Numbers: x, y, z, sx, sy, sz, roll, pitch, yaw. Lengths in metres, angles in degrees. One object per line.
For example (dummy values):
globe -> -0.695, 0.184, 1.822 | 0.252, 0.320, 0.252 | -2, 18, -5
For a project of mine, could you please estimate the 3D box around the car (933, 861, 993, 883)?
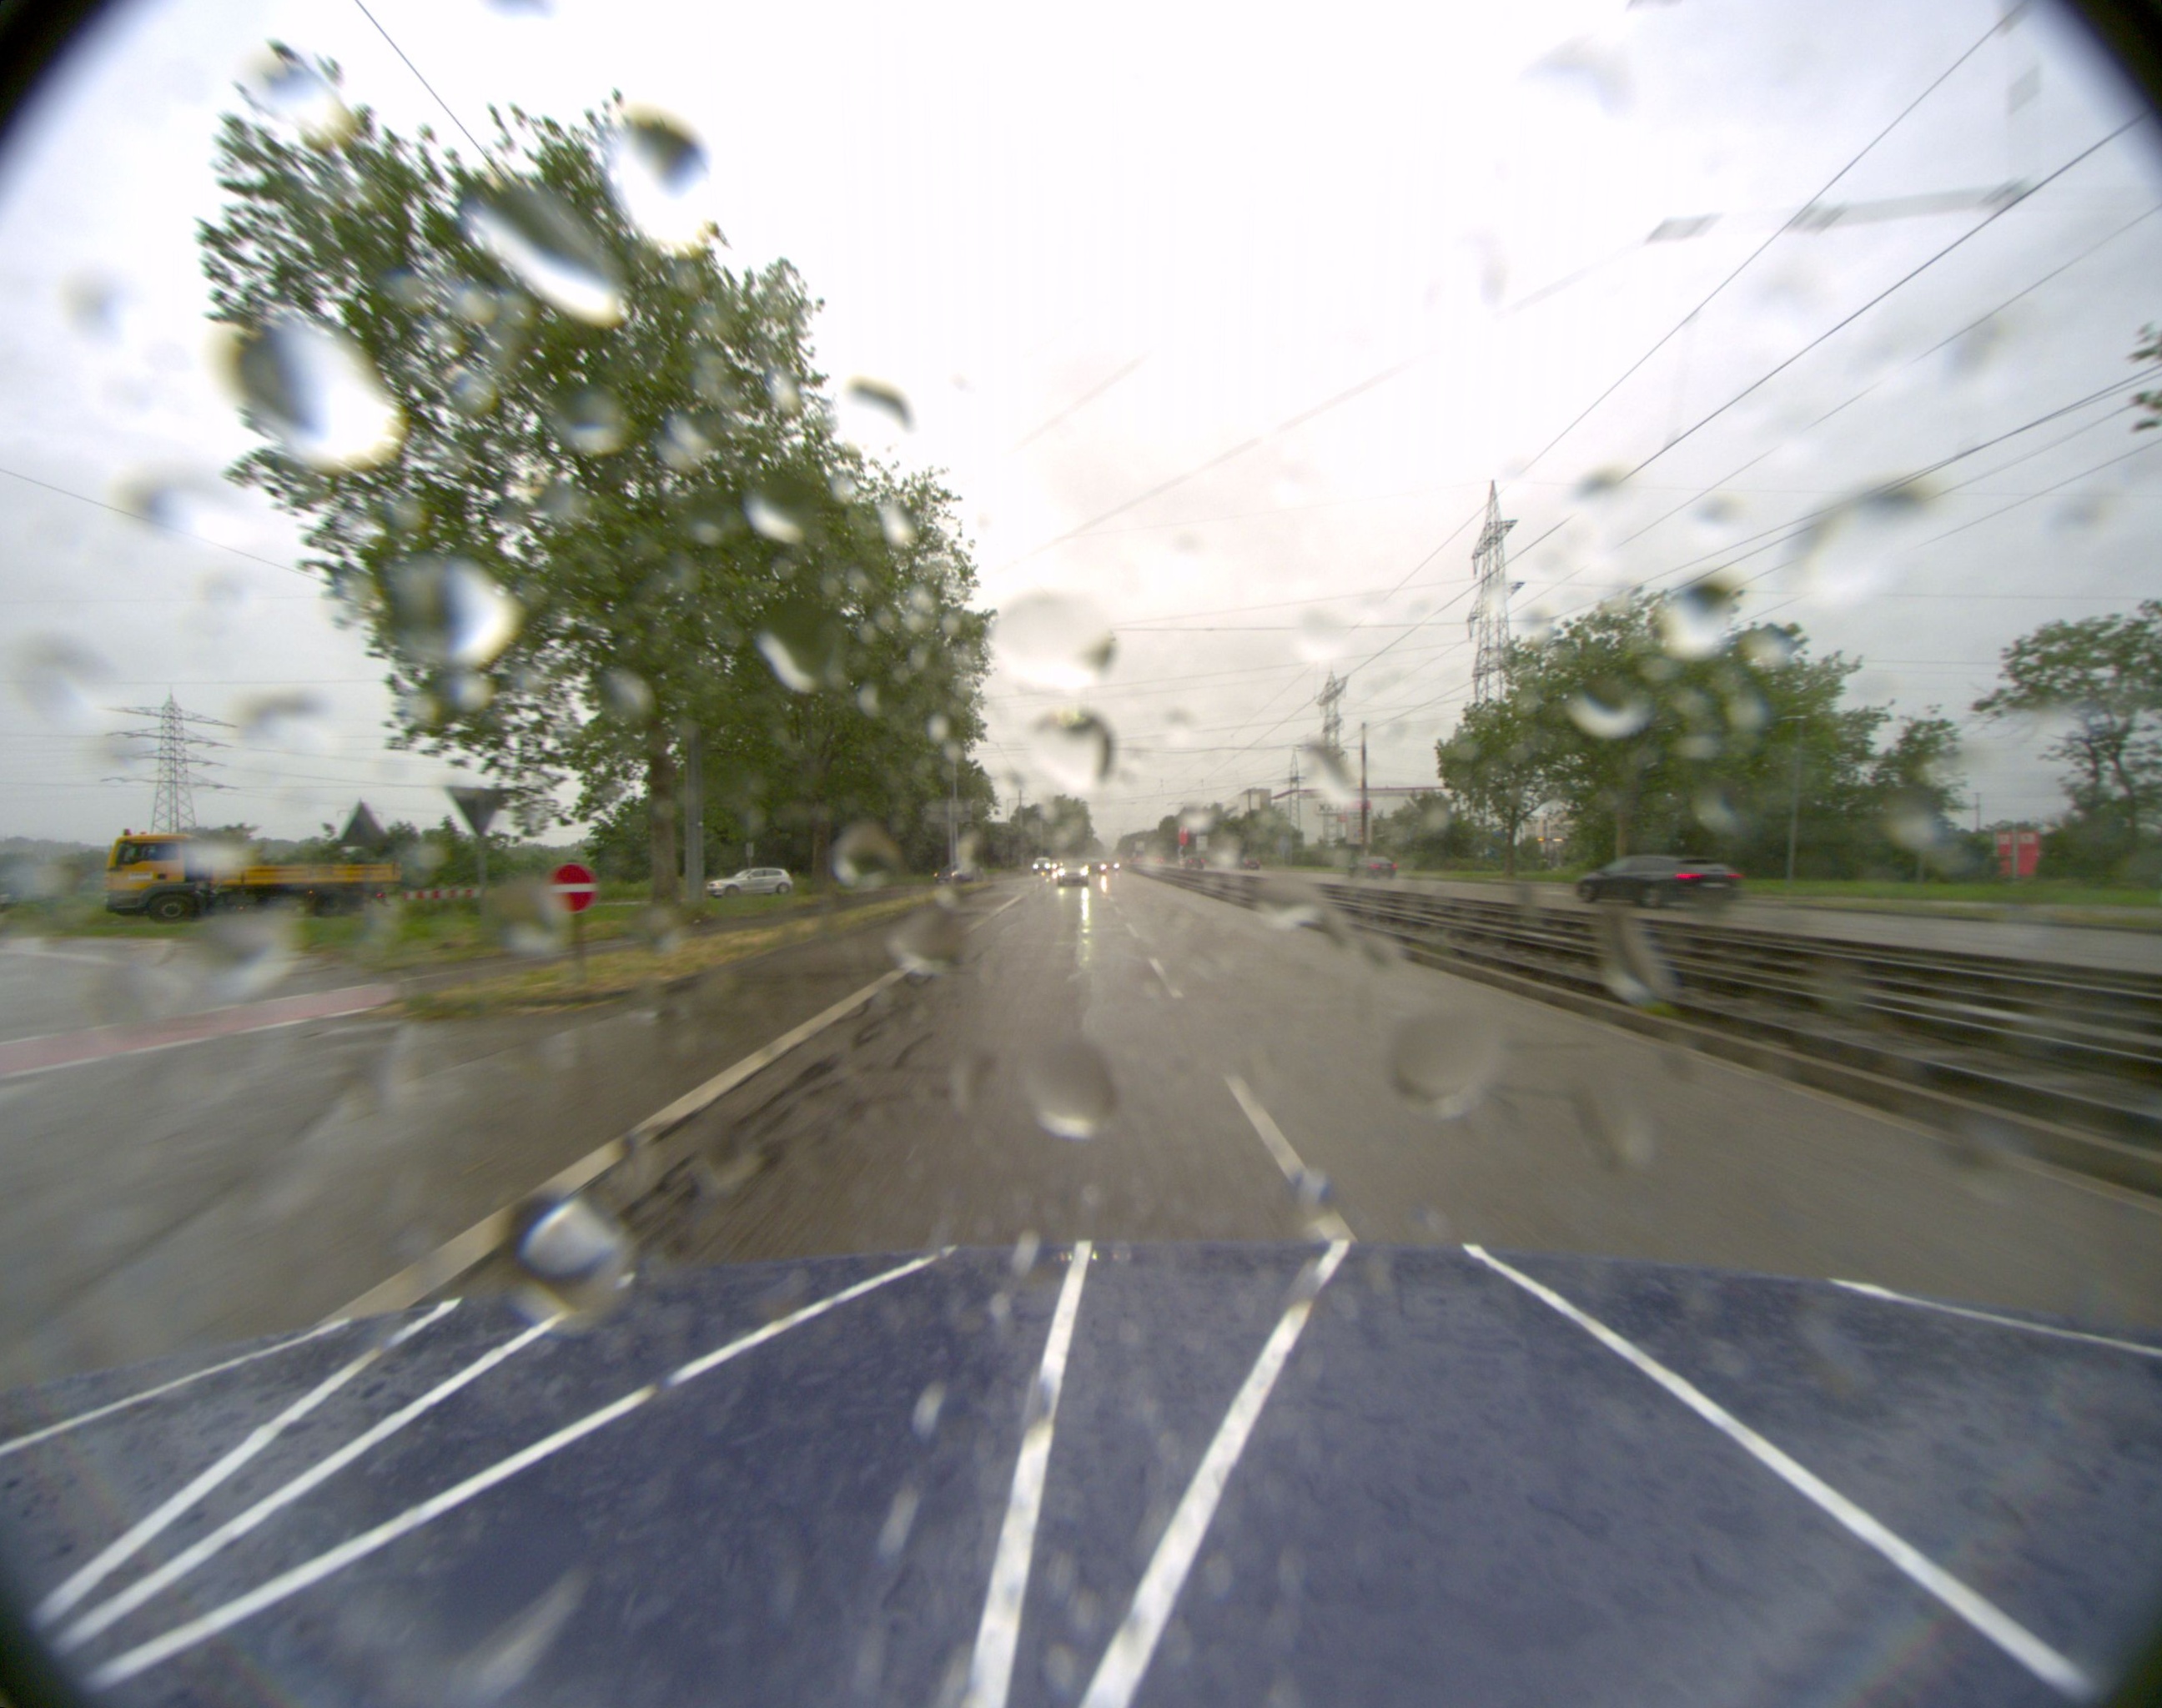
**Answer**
car -> -7.817, 1.189, 50.874 | 1.889, 1.349, 4.284 | -2, -1, 24

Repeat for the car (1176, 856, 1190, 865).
car -> 16.292, 1.003, 121.394 | 1.746, 1.346, 4.546 | -2, -1, 1

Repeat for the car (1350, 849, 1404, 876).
car -> 19.915, 0.592, 51.372 | 1.846, 1.676, 4.651 | -2, -1, 1

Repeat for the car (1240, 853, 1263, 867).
car -> 19.713, 0.706, 88.058 | 1.693, 1.542, 4.000 | -2, -1, 0

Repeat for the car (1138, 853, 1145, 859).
car -> 18.215, 0.526, 228.316 | 1.829, 1.625, 5.137 | -2, -1, 0

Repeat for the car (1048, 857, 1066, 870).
car -> -2.792, 1.106, 89.003 | 1.784, 1.419, 4.001 | -1, -1, 2

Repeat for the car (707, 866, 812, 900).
car -> -16.241, 1.439, 38.560 | 1.627, 1.494, 4.615 | -3, -1, 41

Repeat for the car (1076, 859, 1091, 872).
car -> 0.361, 1.485, 98.053 | 1.815, 1.692, 4.001 | -1, -1, 2

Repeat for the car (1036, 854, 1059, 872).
car -> -3.305, 0.946, 75.870 | 1.797, 1.692, 4.764 | -2, -1, 2

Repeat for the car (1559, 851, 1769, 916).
car -> 16.064, 0.773, 21.424 | 1.795, 1.540, 5.313 | -2, -1, 0

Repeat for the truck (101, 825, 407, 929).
truck -> -28.554, 0.695, 26.822 | 6.946, 3.238, 2.557 | -1, -1, -40

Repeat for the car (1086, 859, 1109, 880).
car -> 1.417, 1.286, 64.119 | 1.815, 1.692, 4.001 | -1, -1, 2

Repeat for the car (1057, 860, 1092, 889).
car -> -0.352, 1.146, 42.953 | 1.807, 1.521, 3.646 | -2, -1, 0

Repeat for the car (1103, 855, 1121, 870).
car -> 3.367, 0.972, 84.195 | 1.807, 1.521, 3.646 | -2, -1, 0

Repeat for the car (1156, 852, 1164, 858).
car -> 20.443, 0.386, 197.079 | 1.998, 1.455, 5.253 | 1, -1, 4

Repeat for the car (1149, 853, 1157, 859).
car -> 20.215, 0.464, 212.883 | 1.847, 1.564, 5.067 | -2, -1, 0

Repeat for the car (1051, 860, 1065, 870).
car -> -3.288, 1.616, 111.075 | 1.784, 1.419, 4.001 | -1, -1, 2

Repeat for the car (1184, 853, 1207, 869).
car -> 13.857, 0.871, 92.484 | 1.892, 1.798, 5.005 | -2, -1, -1
